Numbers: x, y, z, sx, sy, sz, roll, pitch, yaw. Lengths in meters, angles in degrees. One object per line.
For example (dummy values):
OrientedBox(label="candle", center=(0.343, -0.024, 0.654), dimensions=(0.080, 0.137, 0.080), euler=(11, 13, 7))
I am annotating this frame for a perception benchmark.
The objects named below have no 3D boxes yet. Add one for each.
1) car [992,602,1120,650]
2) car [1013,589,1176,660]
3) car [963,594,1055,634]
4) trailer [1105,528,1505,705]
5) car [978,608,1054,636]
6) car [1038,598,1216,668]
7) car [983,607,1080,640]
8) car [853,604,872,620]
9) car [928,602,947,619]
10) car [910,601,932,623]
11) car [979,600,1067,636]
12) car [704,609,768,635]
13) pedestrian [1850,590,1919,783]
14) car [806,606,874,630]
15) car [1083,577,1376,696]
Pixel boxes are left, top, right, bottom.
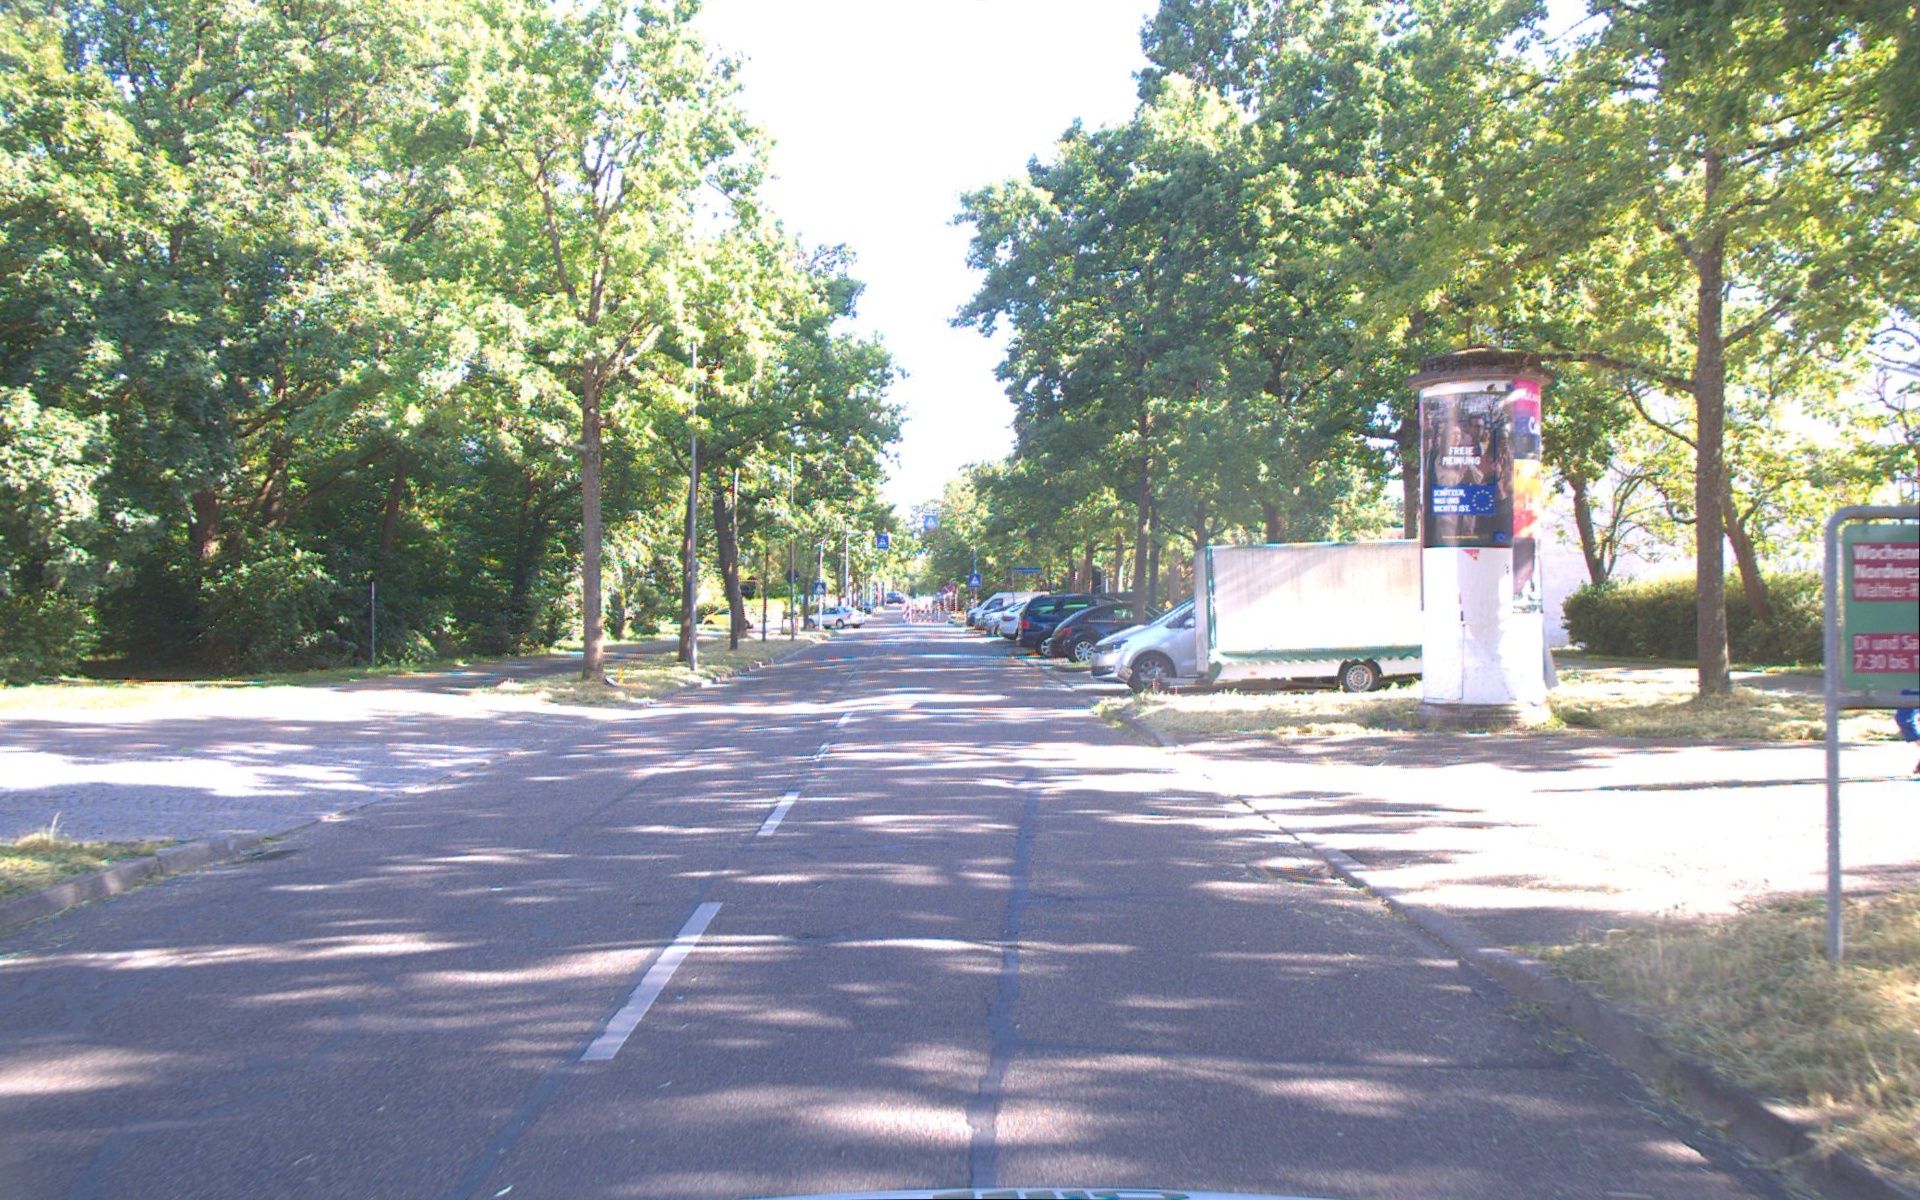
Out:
OrientedBox(label="car", center=(3.546, 0.955, 61.682), dimensions=(4.576, 1.608, 1.916), euler=(-2, 0, -1))
OrientedBox(label="car", center=(3.796, 0.692, 47.359), dimensions=(4.438, 1.832, 1.936), euler=(-2, 0, -2))
OrientedBox(label="car", center=(2.776, 0.797, 94.737), dimensions=(5.084, 2.142, 2.081), euler=(-1, -1, -3))
OrientedBox(label="trailer", center=(5.127, 0.242, 25.093), dimensions=(5.656, 2.358, 1.686), euler=(-2, 0, 0))
OrientedBox(label="car", center=(2.932, 1.149, 86.962), dimensions=(3.905, 1.458, 1.901), euler=(-1, 0, 0))
OrientedBox(label="car", center=(4.056, 0.793, 40.730), dimensions=(4.159, 1.545, 2.078), euler=(-2, 0, 0))
OrientedBox(label="car", center=(3.305, 1.093, 76.831), dimensions=(4.355, 1.414, 1.910), euler=(-1, 0, -2))
OrientedBox(label="car", center=(-10.458, 1.280, 177.355), dimensions=(1.953, 1.747, 3.998), euler=(0, 0, -2))
OrientedBox(label="car", center=(-2.349, 1.065, 171.366), dimensions=(1.953, 1.747, 3.998), euler=(0, 0, -2))
OrientedBox(label="car", center=(-3.601, 1.114, 150.387), dimensions=(1.953, 1.967, 3.998), euler=(0, 0, -2))
OrientedBox(label="car", center=(3.190, 0.915, 84.436), dimensions=(4.297, 1.680, 1.850), euler=(-2, 0, -3))
OrientedBox(label="car", center=(-14.831, 1.430, 109.696), dimensions=(3.904, 1.685, 2.000), euler=(0, -1, 2))
OrientedBox(label="pedestrian", center=(7.970, 0.685, 13.546), dimensions=(0.933, 1.526, 0.873), euler=(-2, 0, -37))
OrientedBox(label="car", center=(-7.745, 1.171, 106.481), dimensions=(3.908, 1.510, 1.998), euler=(-1, -1, 26))
OrientedBox(label="car", center=(4.453, 0.592, 27.845), dimensions=(4.548, 1.752, 1.987), euler=(-2, 0, -1))
